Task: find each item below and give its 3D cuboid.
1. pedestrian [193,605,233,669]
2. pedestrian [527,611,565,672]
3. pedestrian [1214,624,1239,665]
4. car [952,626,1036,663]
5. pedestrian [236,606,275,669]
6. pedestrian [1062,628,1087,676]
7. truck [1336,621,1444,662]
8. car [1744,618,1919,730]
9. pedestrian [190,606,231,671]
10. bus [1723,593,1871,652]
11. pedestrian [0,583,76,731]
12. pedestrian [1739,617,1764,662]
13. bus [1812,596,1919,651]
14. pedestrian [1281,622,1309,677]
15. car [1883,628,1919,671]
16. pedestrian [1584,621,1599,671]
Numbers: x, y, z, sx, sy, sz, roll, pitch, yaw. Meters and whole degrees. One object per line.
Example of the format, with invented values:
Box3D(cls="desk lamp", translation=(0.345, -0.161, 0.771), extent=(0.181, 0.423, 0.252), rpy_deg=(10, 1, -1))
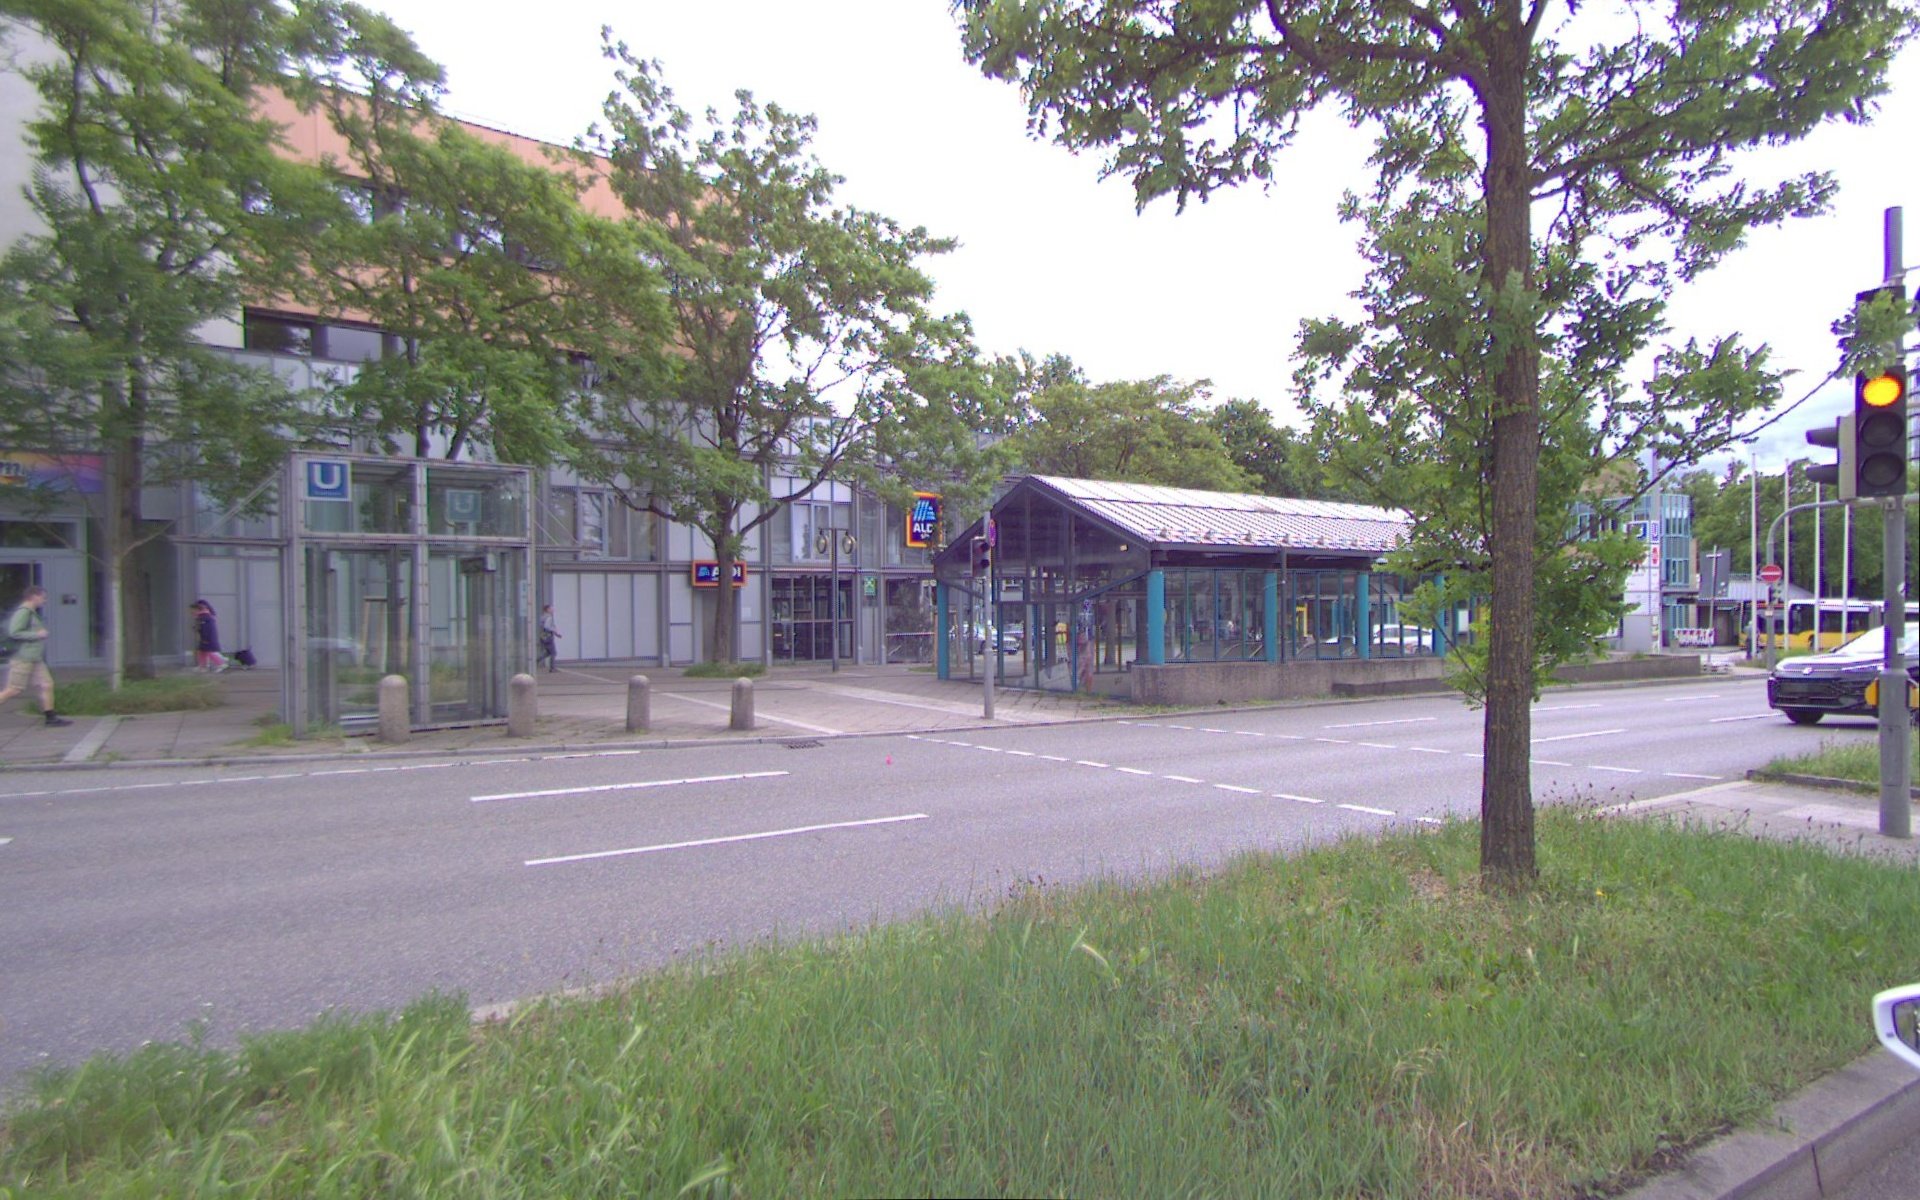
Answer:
Box3D(cls="pedestrian", translation=(-16.707, 0.823, 22.472), extent=(0.689, 1.393, 0.578), rpy_deg=(1, -1, -37))
Box3D(cls="pedestrian", translation=(-10.328, 1.025, 25.060), extent=(0.748, 1.499, 0.525), rpy_deg=(1, -1, -36))
Box3D(cls="pedestrian", translation=(10.416, 1.735, 39.276), extent=(0.652, 1.591, 0.632), rpy_deg=(2, 0, -25))
Box3D(cls="car", translation=(1.652, 2.188, 50.376), extent=(1.769, 1.710, 4.838), rpy_deg=(1, -1, -33))
Box3D(cls="pedestrian", translation=(-16.010, 0.846, 22.838), extent=(0.689, 1.393, 0.578), rpy_deg=(1, -1, -37))
Box3D(cls="pedestrian", translation=(4.068, 1.849, 35.638), extent=(0.703, 1.677, 0.517), rpy_deg=(1, -1, -37))
Box3D(cls="truck", translation=(17.368, 1.647, 40.613), extent=(3.924, 1.537, 1.998), rpy_deg=(0, -1, 25))
Box3D(cls="car", translation=(14.342, 1.056, 15.018), extent=(3.995, 1.541, 1.839), rpy_deg=(0, -1, -6))
Box3D(cls="pedestrian", translation=(-16.339, 0.831, 21.906), extent=(0.689, 1.393, 0.578), rpy_deg=(1, -1, -37))
Box3D(cls="bus", translation=(49.924, 1.380, 59.826), extent=(10.036, 3.293, 2.980), rpy_deg=(1, -1, -26))
Box3D(cls="pedestrian", translation=(-12.079, 0.724, 12.973), extent=(0.530, 1.857, 0.916), rpy_deg=(0, -1, 44))
Box3D(cls="pedestrian", translation=(34.265, 1.698, 43.477), extent=(0.677, 1.922, 0.658), rpy_deg=(1, -1, -30))
Box3D(cls="bus", translation=(57.921, 1.542, 63.766), extent=(7.771, 3.313, 2.980), rpy_deg=(1, -1, -26))
Box3D(cls="pedestrian", translation=(11.132, 1.640, 33.390), extent=(0.745, 1.786, 0.527), rpy_deg=(0, -1, 44))
Box3D(cls="car", translation=(37.550, 1.912, 39.164), extent=(3.316, 1.599, 1.673), rpy_deg=(1, -1, -36))
Box3D(cls="pedestrian", translation=(20.760, 1.515, 33.024), extent=(0.412, 1.612, 0.356), rpy_deg=(0, -1, 31))
